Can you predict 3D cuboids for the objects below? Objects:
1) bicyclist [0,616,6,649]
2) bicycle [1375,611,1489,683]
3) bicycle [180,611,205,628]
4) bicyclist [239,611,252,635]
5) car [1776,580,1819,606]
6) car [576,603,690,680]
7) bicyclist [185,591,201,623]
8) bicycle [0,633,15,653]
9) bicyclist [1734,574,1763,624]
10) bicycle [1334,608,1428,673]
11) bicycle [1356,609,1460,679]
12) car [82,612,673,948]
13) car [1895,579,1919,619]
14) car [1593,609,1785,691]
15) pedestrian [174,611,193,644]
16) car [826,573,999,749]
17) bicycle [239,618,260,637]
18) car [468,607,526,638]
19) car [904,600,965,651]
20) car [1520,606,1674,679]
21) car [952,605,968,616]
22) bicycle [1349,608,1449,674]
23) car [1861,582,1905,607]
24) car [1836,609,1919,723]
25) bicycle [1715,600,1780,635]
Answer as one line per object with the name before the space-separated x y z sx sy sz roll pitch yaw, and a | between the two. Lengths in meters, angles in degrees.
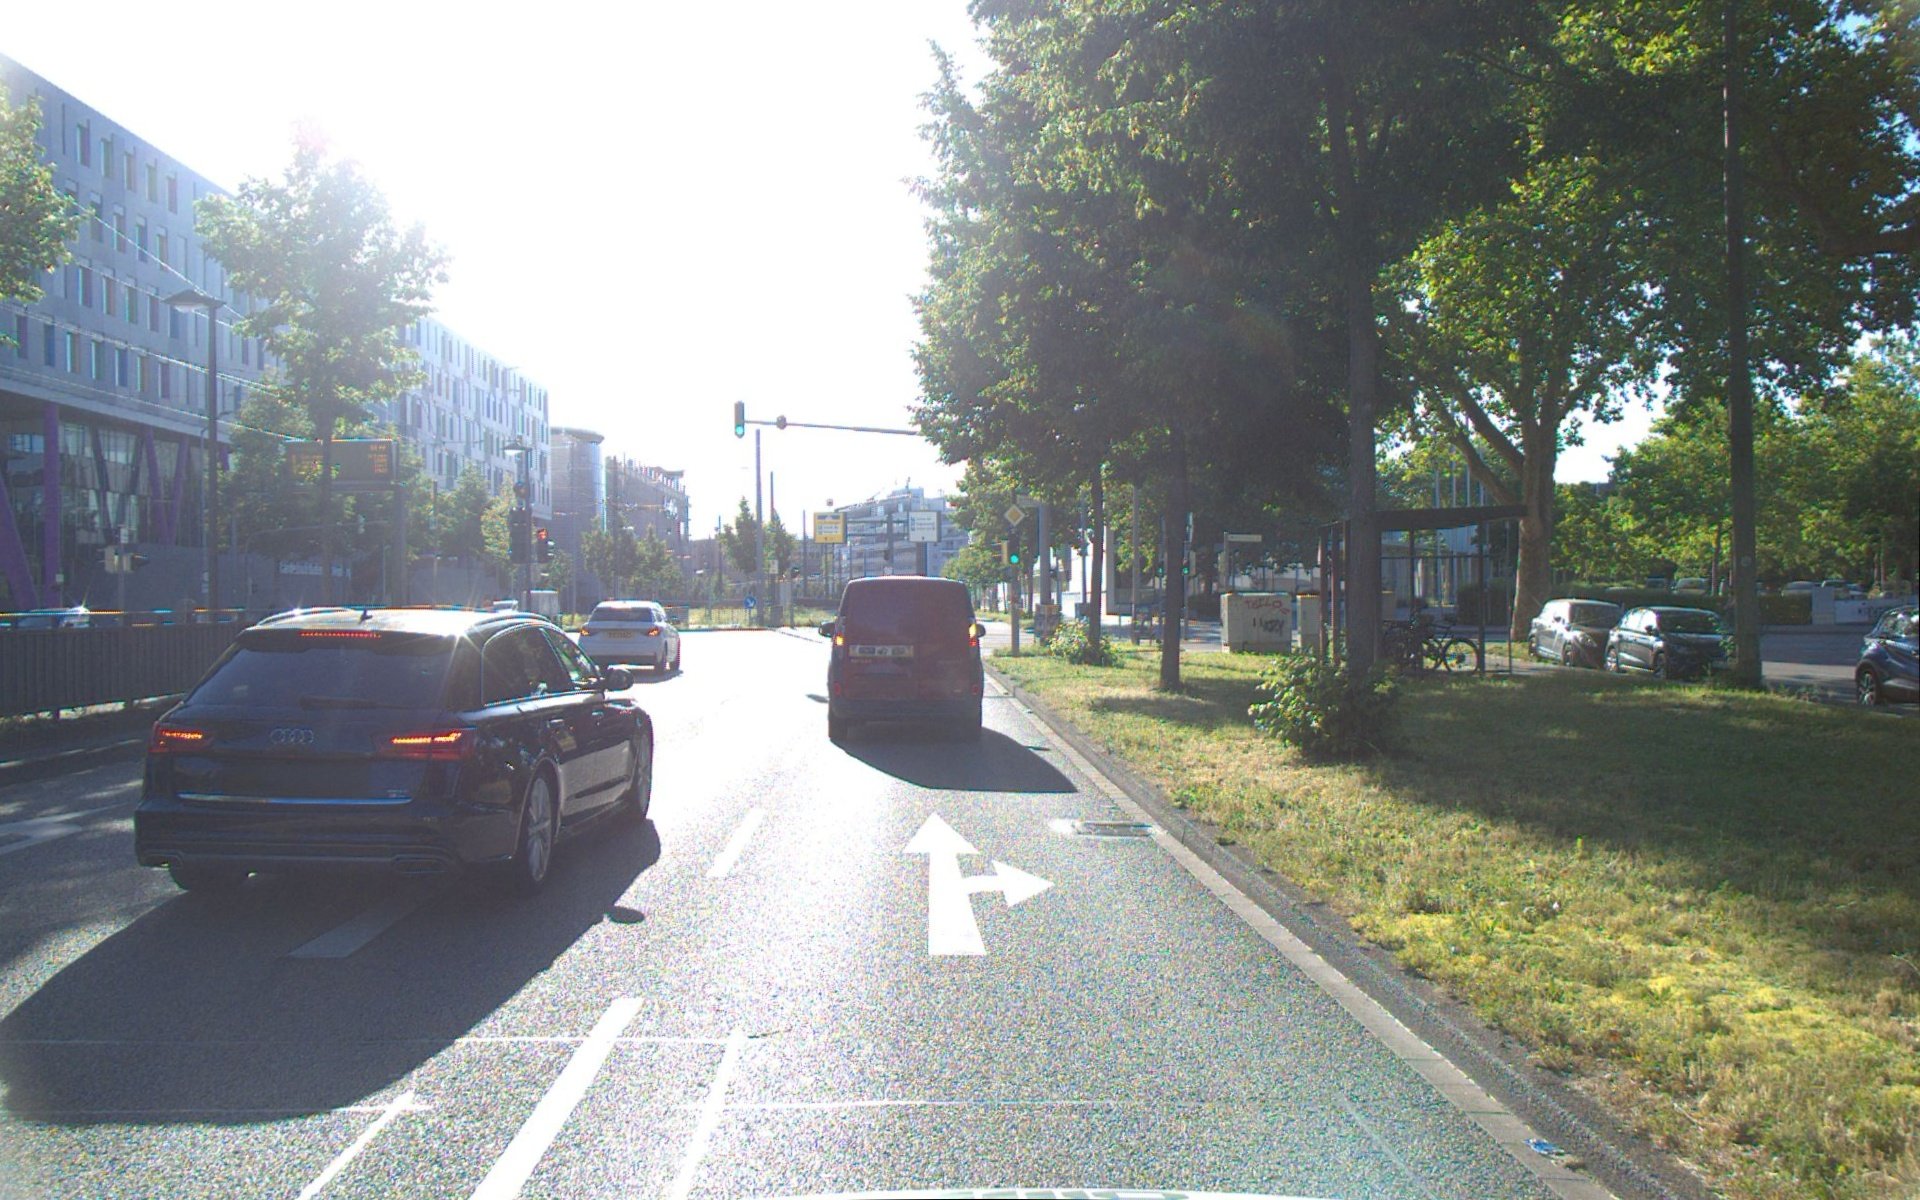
bicyclist | -42.358 1.417 72.710 0.471 1.448 0.553 -1 0 13
bicycle | 7.889 0.782 27.676 1.766 1.189 0.551 0 0 1
bicycle | -42.286 1.058 91.135 0.517 0.878 1.833 -1 0 -1
bicyclist | -45.928 1.484 106.295 0.547 1.522 0.763 -1 0 -2
car | 48.799 -0.408 96.378 1.953 1.491 3.999 0 1 23
car | -6.634 0.810 33.915 1.638 1.451 4.004 1 0 -2
bicyclist | -42.299 0.384 91.203 0.519 1.756 0.837 -1 0 -1
bicycle | -42.370 1.906 72.640 0.471 0.878 1.693 -1 0 13
bicyclist | 28.005 -0.044 58.728 0.858 1.767 0.831 -1 0 30
bicycle | 7.908 0.753 31.093 1.660 1.189 0.551 0 0 7
bicycle | 7.765 0.759 28.723 1.661 1.189 0.551 0 0 0
car | -3.000 0.821 9.715 1.775 1.452 4.689 1 0 0
car | 37.841 -0.049 64.764 1.955 1.491 3.996 0 1 27
car | 13.733 0.891 31.442 1.854 1.436 4.347 0 0 2
pedestrian | -44.766 1.576 95.327 0.706 1.854 0.871 -1 0 -2
car | -0.583 0.656 19.654 1.811 1.846 4.112 1 0 -2
bicycle | -45.665 1.783 106.300 0.509 1.193 1.974 -1 0 -2
car | -24.701 1.165 88.401 1.954 1.589 4.868 -1 0 -3
car | -0.857 0.797 53.818 1.816 1.573 3.998 1 0 -3
car | 13.743 0.870 35.920 1.855 1.491 4.037 0 0 1
car | -0.004 1.443 229.537 1.816 1.507 4.851 -2 0 -3
bicycle | 7.939 0.737 29.940 1.661 1.189 0.551 0 0 1
car | 57.882 -0.349 103.790 1.953 1.491 3.999 0 1 23
car | 13.698 0.886 22.093 1.854 1.514 4.348 0 0 2
bicycle | 27.976 0.630 58.763 2.057 1.224 0.550 -1 0 29
